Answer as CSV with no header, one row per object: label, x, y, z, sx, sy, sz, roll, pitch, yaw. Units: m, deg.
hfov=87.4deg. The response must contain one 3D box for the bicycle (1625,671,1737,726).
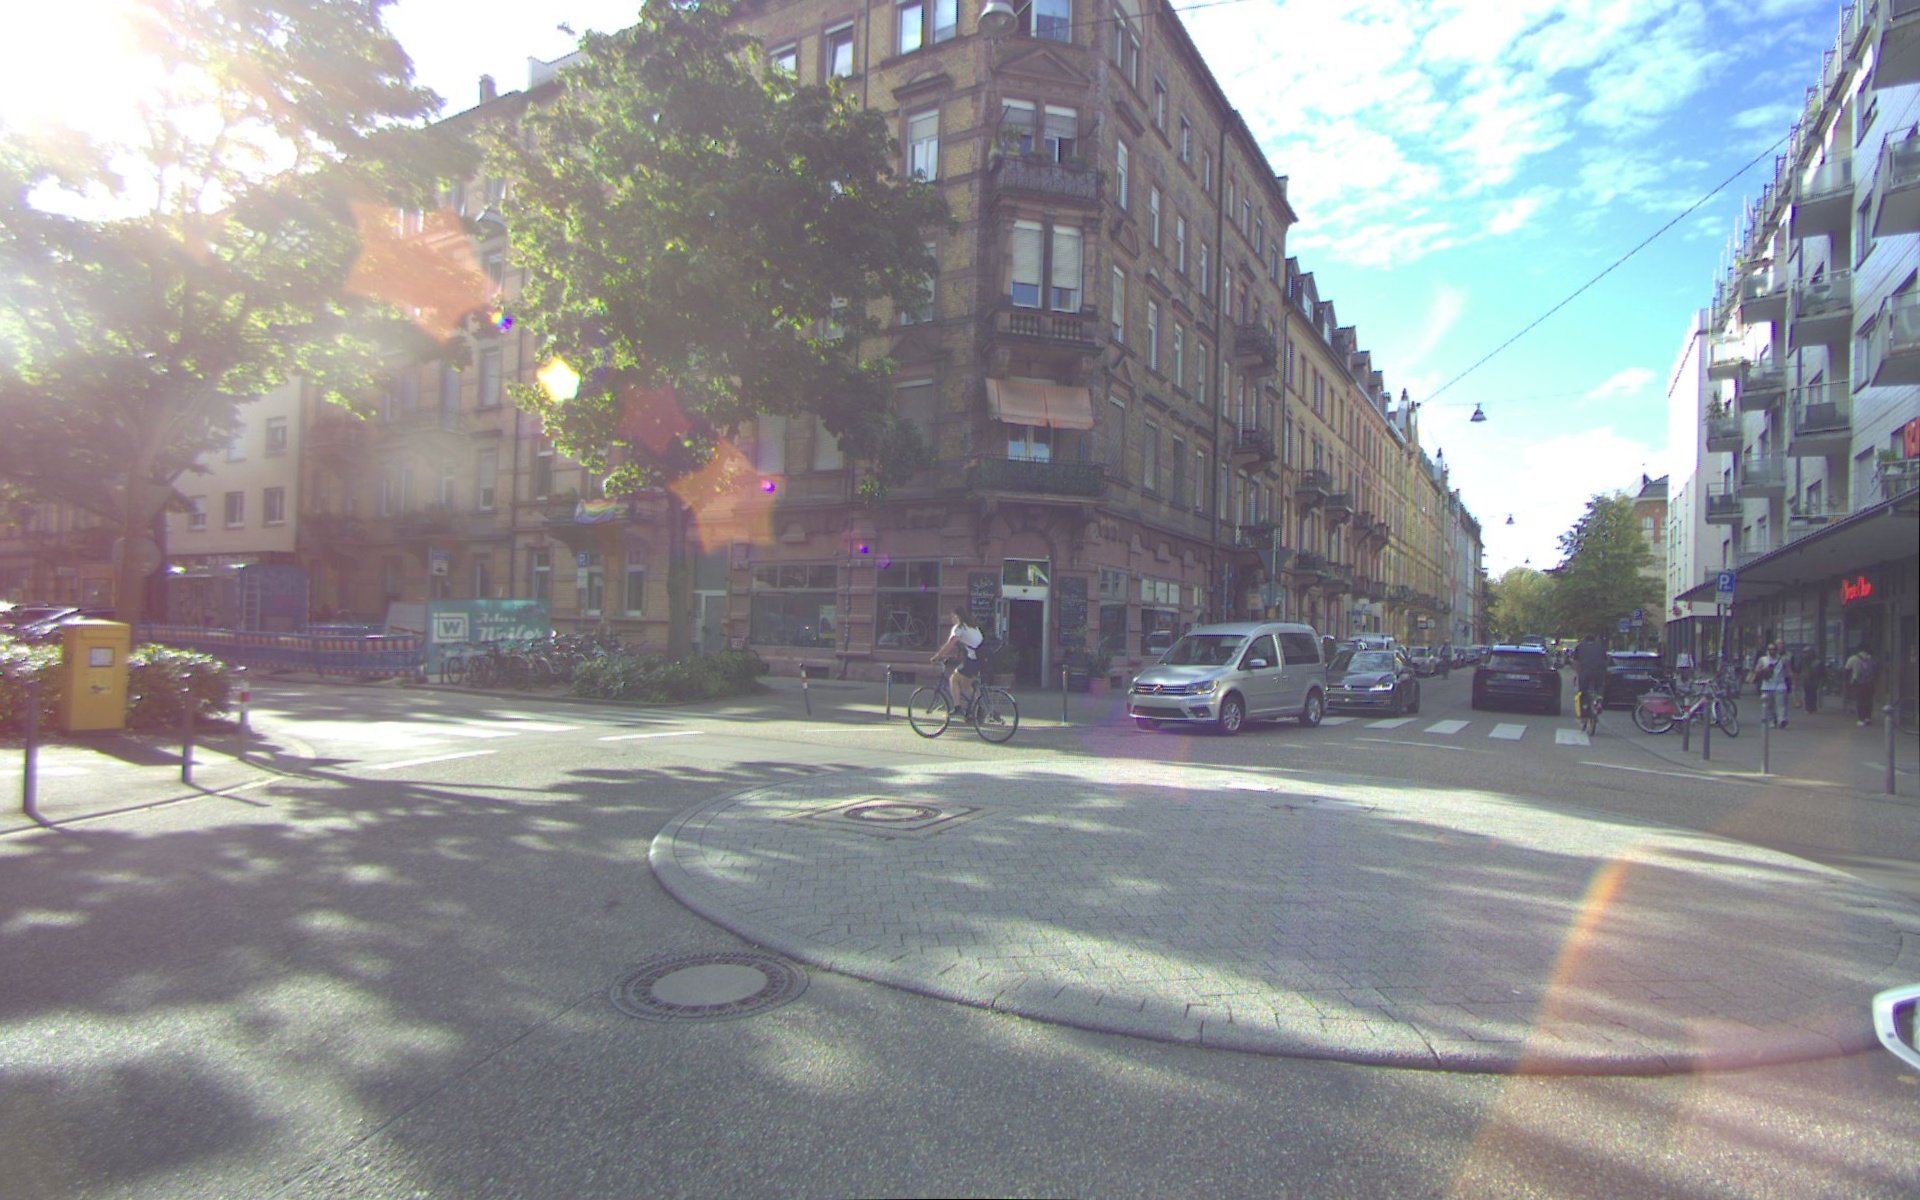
bicycle,14.966,2.034,20.898,1.759,1.085,0.586,-1,-2,22

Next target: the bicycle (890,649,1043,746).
bicycle,0.086,1.294,13.629,1.940,1.215,0.693,0,-4,23

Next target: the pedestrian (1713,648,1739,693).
pedestrian,27.693,2.553,36.336,0.635,1.609,0.779,-1,-3,33

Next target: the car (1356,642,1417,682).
car,18.124,2.610,42.608,1.717,1.503,3.975,3,-1,32

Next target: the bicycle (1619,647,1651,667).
bicycle,38.989,3.294,58.023,1.474,1.161,0.410,-2,-2,32

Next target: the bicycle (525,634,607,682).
bicycle,-9.305,1.361,23.703,2.038,1.025,0.591,1,0,26

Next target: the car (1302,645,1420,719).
car,8.920,1.765,22.164,1.766,1.456,3.992,-1,-4,32

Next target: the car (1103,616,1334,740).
car,4.451,1.252,16.961,4.302,1.814,1.811,3,-3,-44

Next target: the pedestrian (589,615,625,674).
pedestrian,-9.969,1.234,28.376,0.797,1.599,0.612,2,2,38

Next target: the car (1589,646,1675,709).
car,18.633,2.101,27.980,1.767,1.626,3.915,-2,-3,31

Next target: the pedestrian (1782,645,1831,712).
pedestrian,20.956,1.926,24.881,0.812,1.609,0.779,0,-2,33

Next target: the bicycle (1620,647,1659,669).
bicycle,38.136,3.260,56.403,1.742,1.177,0.648,-2,-3,34

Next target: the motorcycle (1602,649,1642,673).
motorcycle,44.208,4.059,67.083,2.122,1.550,0.684,-2,-3,36

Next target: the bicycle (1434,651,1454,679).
bicycle,22.753,3.056,47.236,0.690,1.236,2.113,3,-1,29

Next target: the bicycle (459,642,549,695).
bicycle,-10.000,1.472,21.990,2.102,1.043,0.591,1,0,26

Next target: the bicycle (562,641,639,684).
bicycle,-9.179,1.572,25.635,2.038,0.981,0.591,1,0,26

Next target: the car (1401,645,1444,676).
car,25.128,3.235,54.499,1.716,1.503,3.976,2,-1,30

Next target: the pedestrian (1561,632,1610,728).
pedestrian,11.554,1.455,18.570,0.708,1.672,0.928,2,-1,32

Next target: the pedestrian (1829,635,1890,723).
pedestrian,18.631,1.620,20.825,0.703,1.769,0.816,-2,-3,29

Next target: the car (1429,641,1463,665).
car,32.069,3.474,66.254,1.666,1.405,3.860,3,-1,31

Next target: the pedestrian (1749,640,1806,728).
pedestrian,16.350,1.669,20.124,0.791,1.692,1.020,0,-3,34

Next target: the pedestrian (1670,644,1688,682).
pedestrian,33.601,2.933,46.960,0.603,1.749,1.124,0,-1,32

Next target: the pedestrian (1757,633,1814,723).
pedestrian,17.735,1.657,21.599,0.873,1.858,1.042,-2,-3,39

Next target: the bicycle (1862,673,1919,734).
bicycle,17.427,1.877,18.439,0.730,1.028,1.782,-2,-3,24

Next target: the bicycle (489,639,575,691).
bicycle,-9.690,1.451,22.702,2.038,1.043,0.591,1,0,26

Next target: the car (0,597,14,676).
car,-20.072,0.618,18.129,1.550,1.496,4.065,2,-1,32

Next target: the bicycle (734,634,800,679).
bicycle,-5.150,1.485,26.724,1.751,1.081,0.527,2,-1,29

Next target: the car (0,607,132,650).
car,-36.406,1.177,40.840,1.852,1.623,3.979,2,-1,42

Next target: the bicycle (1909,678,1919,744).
bicycle,15.690,1.764,15.521,0.664,1.056,1.736,1,-3,12

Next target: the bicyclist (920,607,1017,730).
bicyclist,0.118,0.921,13.642,1.106,1.607,0.693,0,-4,23

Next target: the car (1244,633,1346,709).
car,9.327,1.898,27.719,1.734,1.797,4.398,4,-1,30

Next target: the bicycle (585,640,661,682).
bicycle,-8.828,1.585,26.284,2.038,0.981,0.591,1,0,26

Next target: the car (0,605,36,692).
car,-18.141,0.797,16.764,1.549,1.496,3.692,2,-1,30

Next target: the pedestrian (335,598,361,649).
pedestrian,-22.643,0.875,37.173,0.511,1.842,0.624,1,-2,30

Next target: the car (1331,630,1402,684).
car,15.715,2.141,38.702,1.891,1.896,4.429,1,-1,30

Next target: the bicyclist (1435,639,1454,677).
bicyclist,22.834,2.720,47.358,0.690,1.700,1.111,3,-1,29

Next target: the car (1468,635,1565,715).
car,14.101,1.851,25.341,1.937,1.763,4.033,2,-2,31

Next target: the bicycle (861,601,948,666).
bicycle,-1.373,0.816,24.882,2.124,1.541,0.556,1,-2,27

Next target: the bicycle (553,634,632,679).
bicycle,-9.103,1.383,24.864,2.038,1.025,0.591,1,0,26

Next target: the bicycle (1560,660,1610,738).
bicycle,11.493,1.778,18.480,0.708,1.291,1.880,2,-1,32

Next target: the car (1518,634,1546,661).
car,45.051,3.730,79.111,1.756,2.046,3.881,2,-1,30

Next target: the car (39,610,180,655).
car,-33.271,1.298,39.383,1.852,1.623,3.979,2,-1,42

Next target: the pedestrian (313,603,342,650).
pedestrian,-23.019,0.965,36.563,0.511,1.694,0.700,1,-2,30

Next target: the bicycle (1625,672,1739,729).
bicycle,14.589,2.013,20.345,1.759,1.085,0.569,-1,-2,22

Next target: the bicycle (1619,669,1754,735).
bicycle,13.411,1.868,18.609,1.853,1.140,0.907,-2,-3,26

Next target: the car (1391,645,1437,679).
car,22.789,3.068,50.370,1.716,1.503,3.976,2,-1,30
